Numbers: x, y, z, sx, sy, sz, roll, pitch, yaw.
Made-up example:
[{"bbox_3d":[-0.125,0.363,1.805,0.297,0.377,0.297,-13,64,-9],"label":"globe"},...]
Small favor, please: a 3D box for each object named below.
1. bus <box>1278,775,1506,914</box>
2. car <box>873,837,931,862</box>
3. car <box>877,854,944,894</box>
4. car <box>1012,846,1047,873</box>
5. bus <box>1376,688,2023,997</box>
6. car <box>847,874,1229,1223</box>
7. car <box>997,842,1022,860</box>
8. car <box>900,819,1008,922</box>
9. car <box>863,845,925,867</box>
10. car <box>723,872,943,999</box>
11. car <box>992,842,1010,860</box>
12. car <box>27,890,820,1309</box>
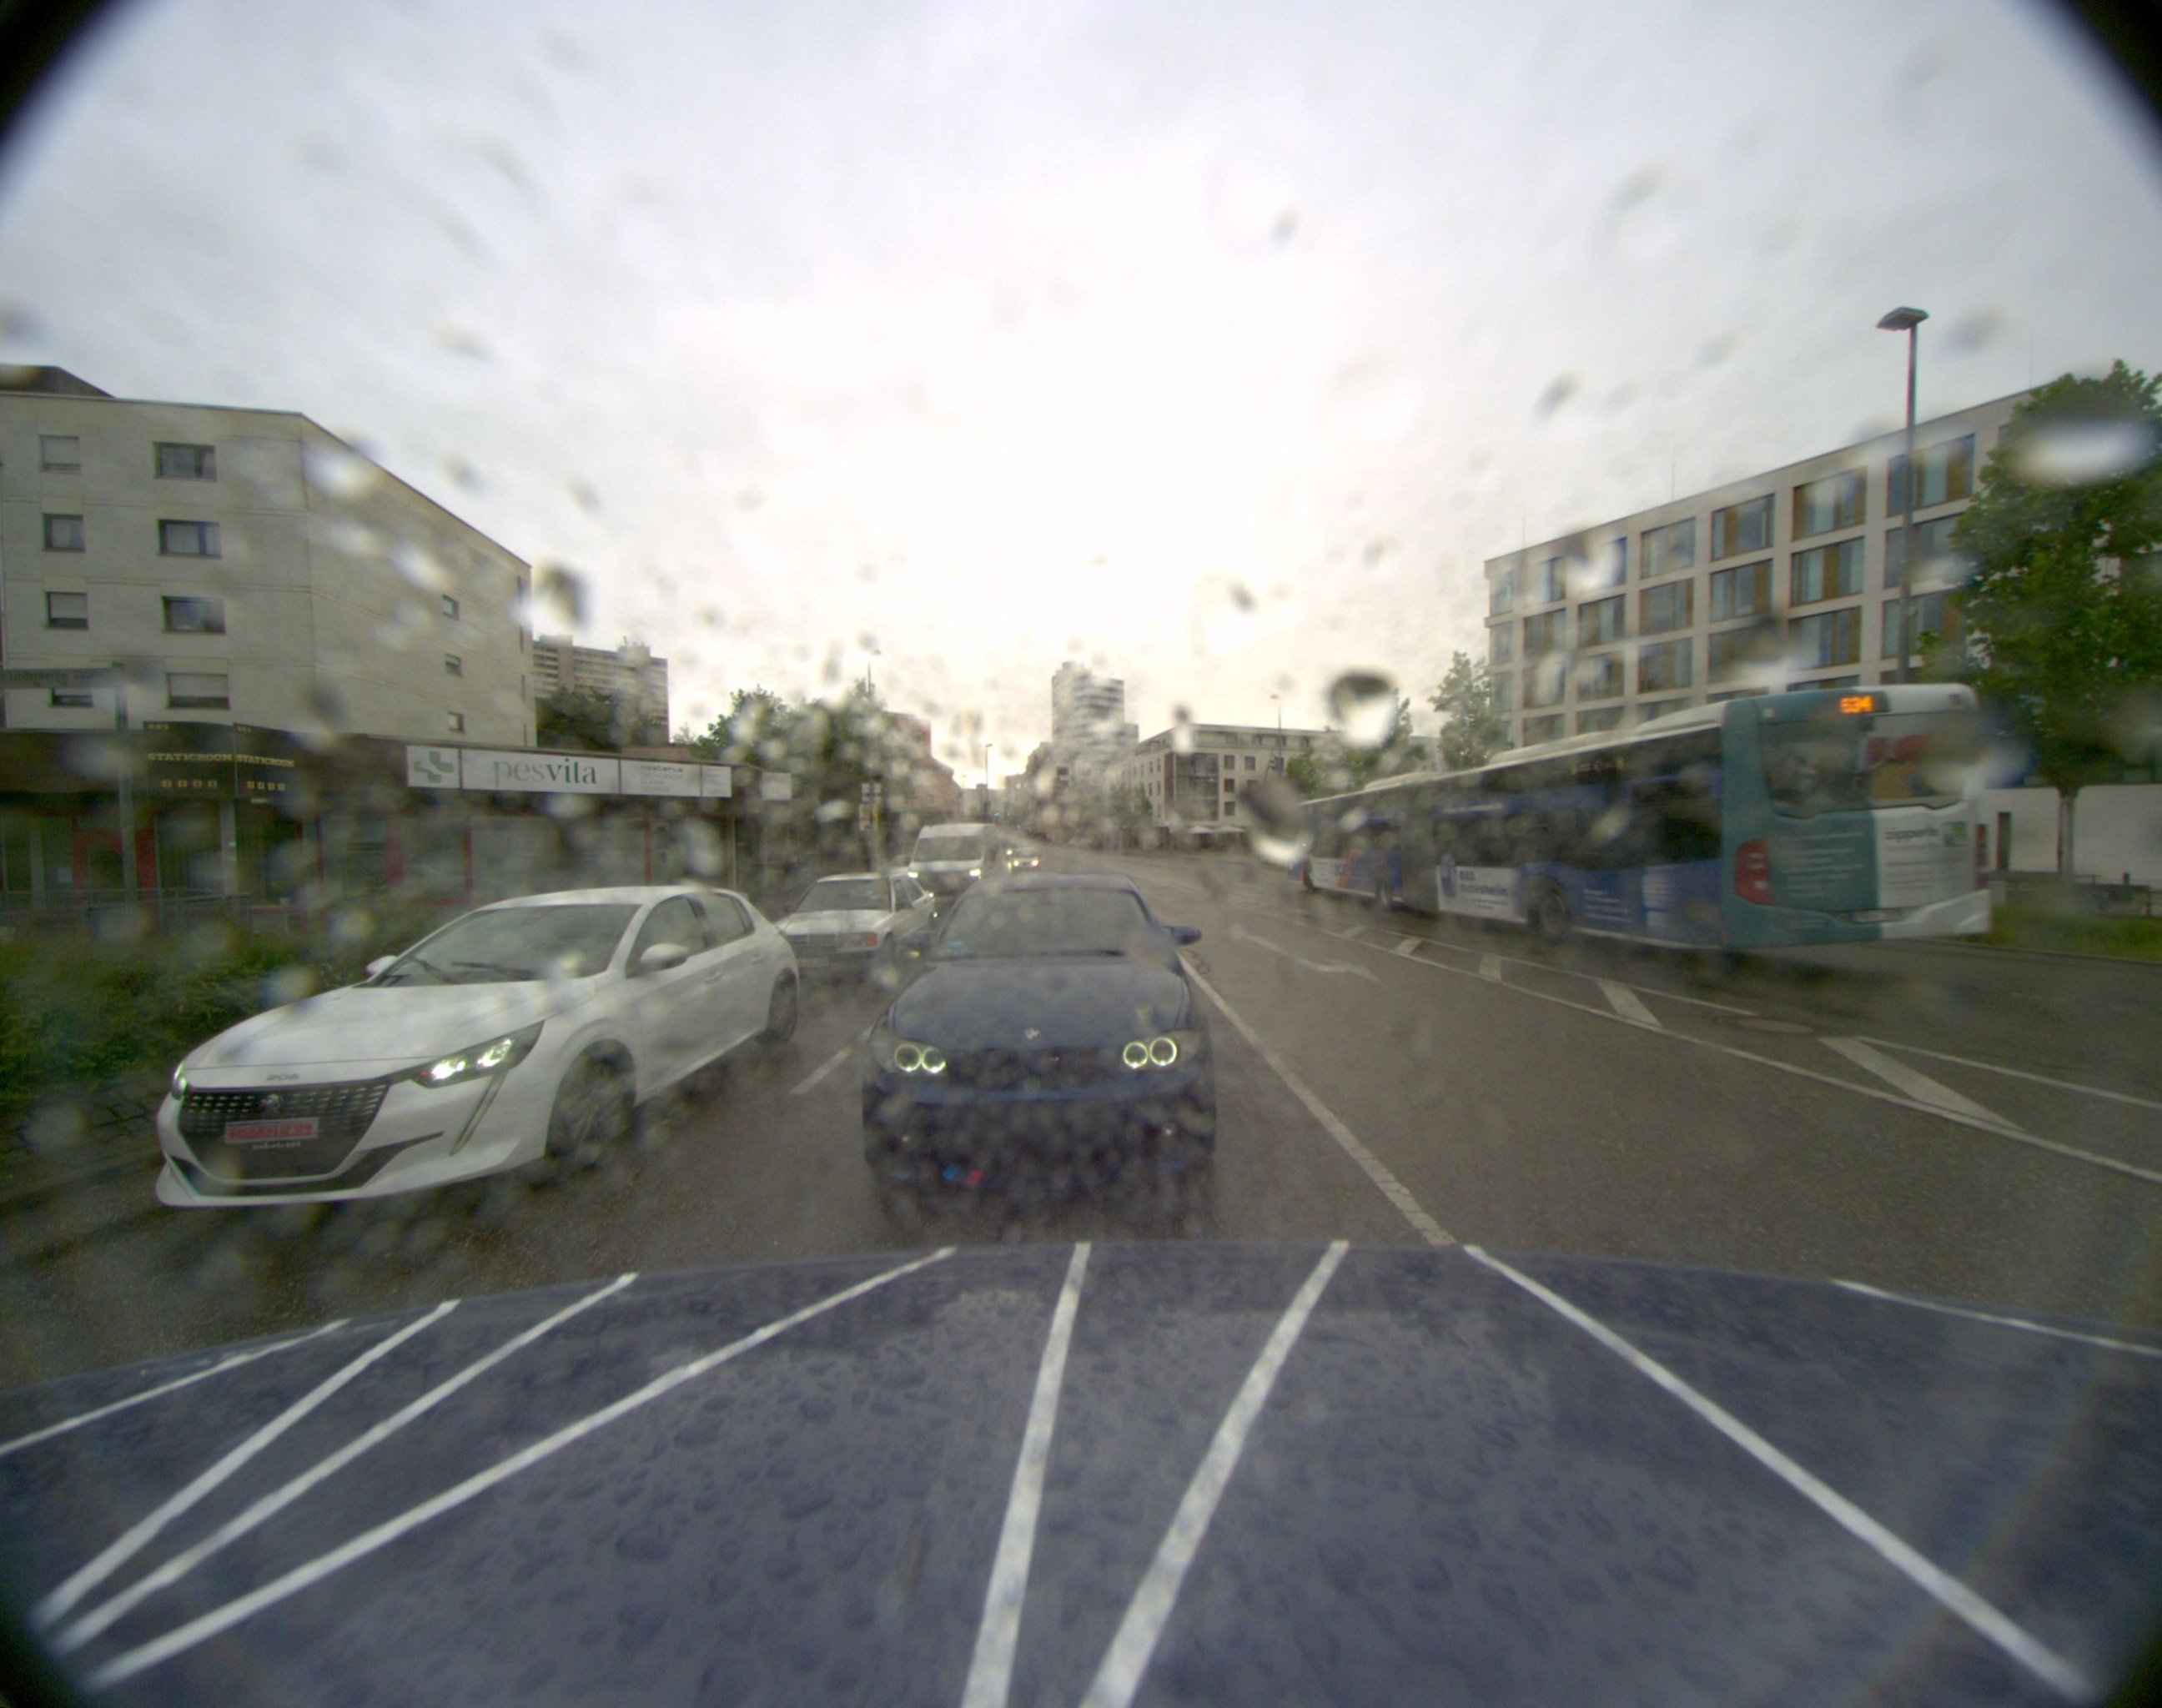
[{"bbox_3d":[8.130,-0.268,21.473,2.799,3.096,8.882,-1,1,0],"label":"bus"},{"bbox_3d":[-13.036,-0.342,55.439,4.000,1.769,1.882,-1,1,-10],"label":"car"},{"bbox_3d":[-6.994,0.773,31.568,1.788,1.481,4.000,-2,1,1],"label":"car"},{"bbox_3d":[-3.162,0.332,47.288,1.803,1.530,3.999,-2,1,1],"label":"car"},{"bbox_3d":[8.048,-0.172,12.344,2.784,3.096,9.366,-1,1,-1],"label":"bus"},{"bbox_3d":[-0.235,0.935,5.448,1.693,1.380,3.999,-2,1,-1],"label":"car"},{"bbox_3d":[-6.810,-0.327,72.537,1.999,1.559,3.998,-2,1,-1],"label":"car"},{"bbox_3d":[-3.437,0.355,21.872,2.197,2.503,6.120,-1,1,-2],"label":"car"},{"bbox_3d":[-12.995,0.116,53.037,4.000,1.419,1.882,-1,1,-10],"label":"car"},{"bbox_3d":[-3.376,1.044,11.276,1.788,1.338,4.162,-2,1,1],"label":"car"},{"bbox_3d":[-9.542,-0.383,90.114,2.000,2.002,3.996,-1,1,-7],"label":"car"},{"bbox_3d":[-3.340,1.086,5.103,1.666,1.407,4.114,-2,1,1],"label":"car"}]
